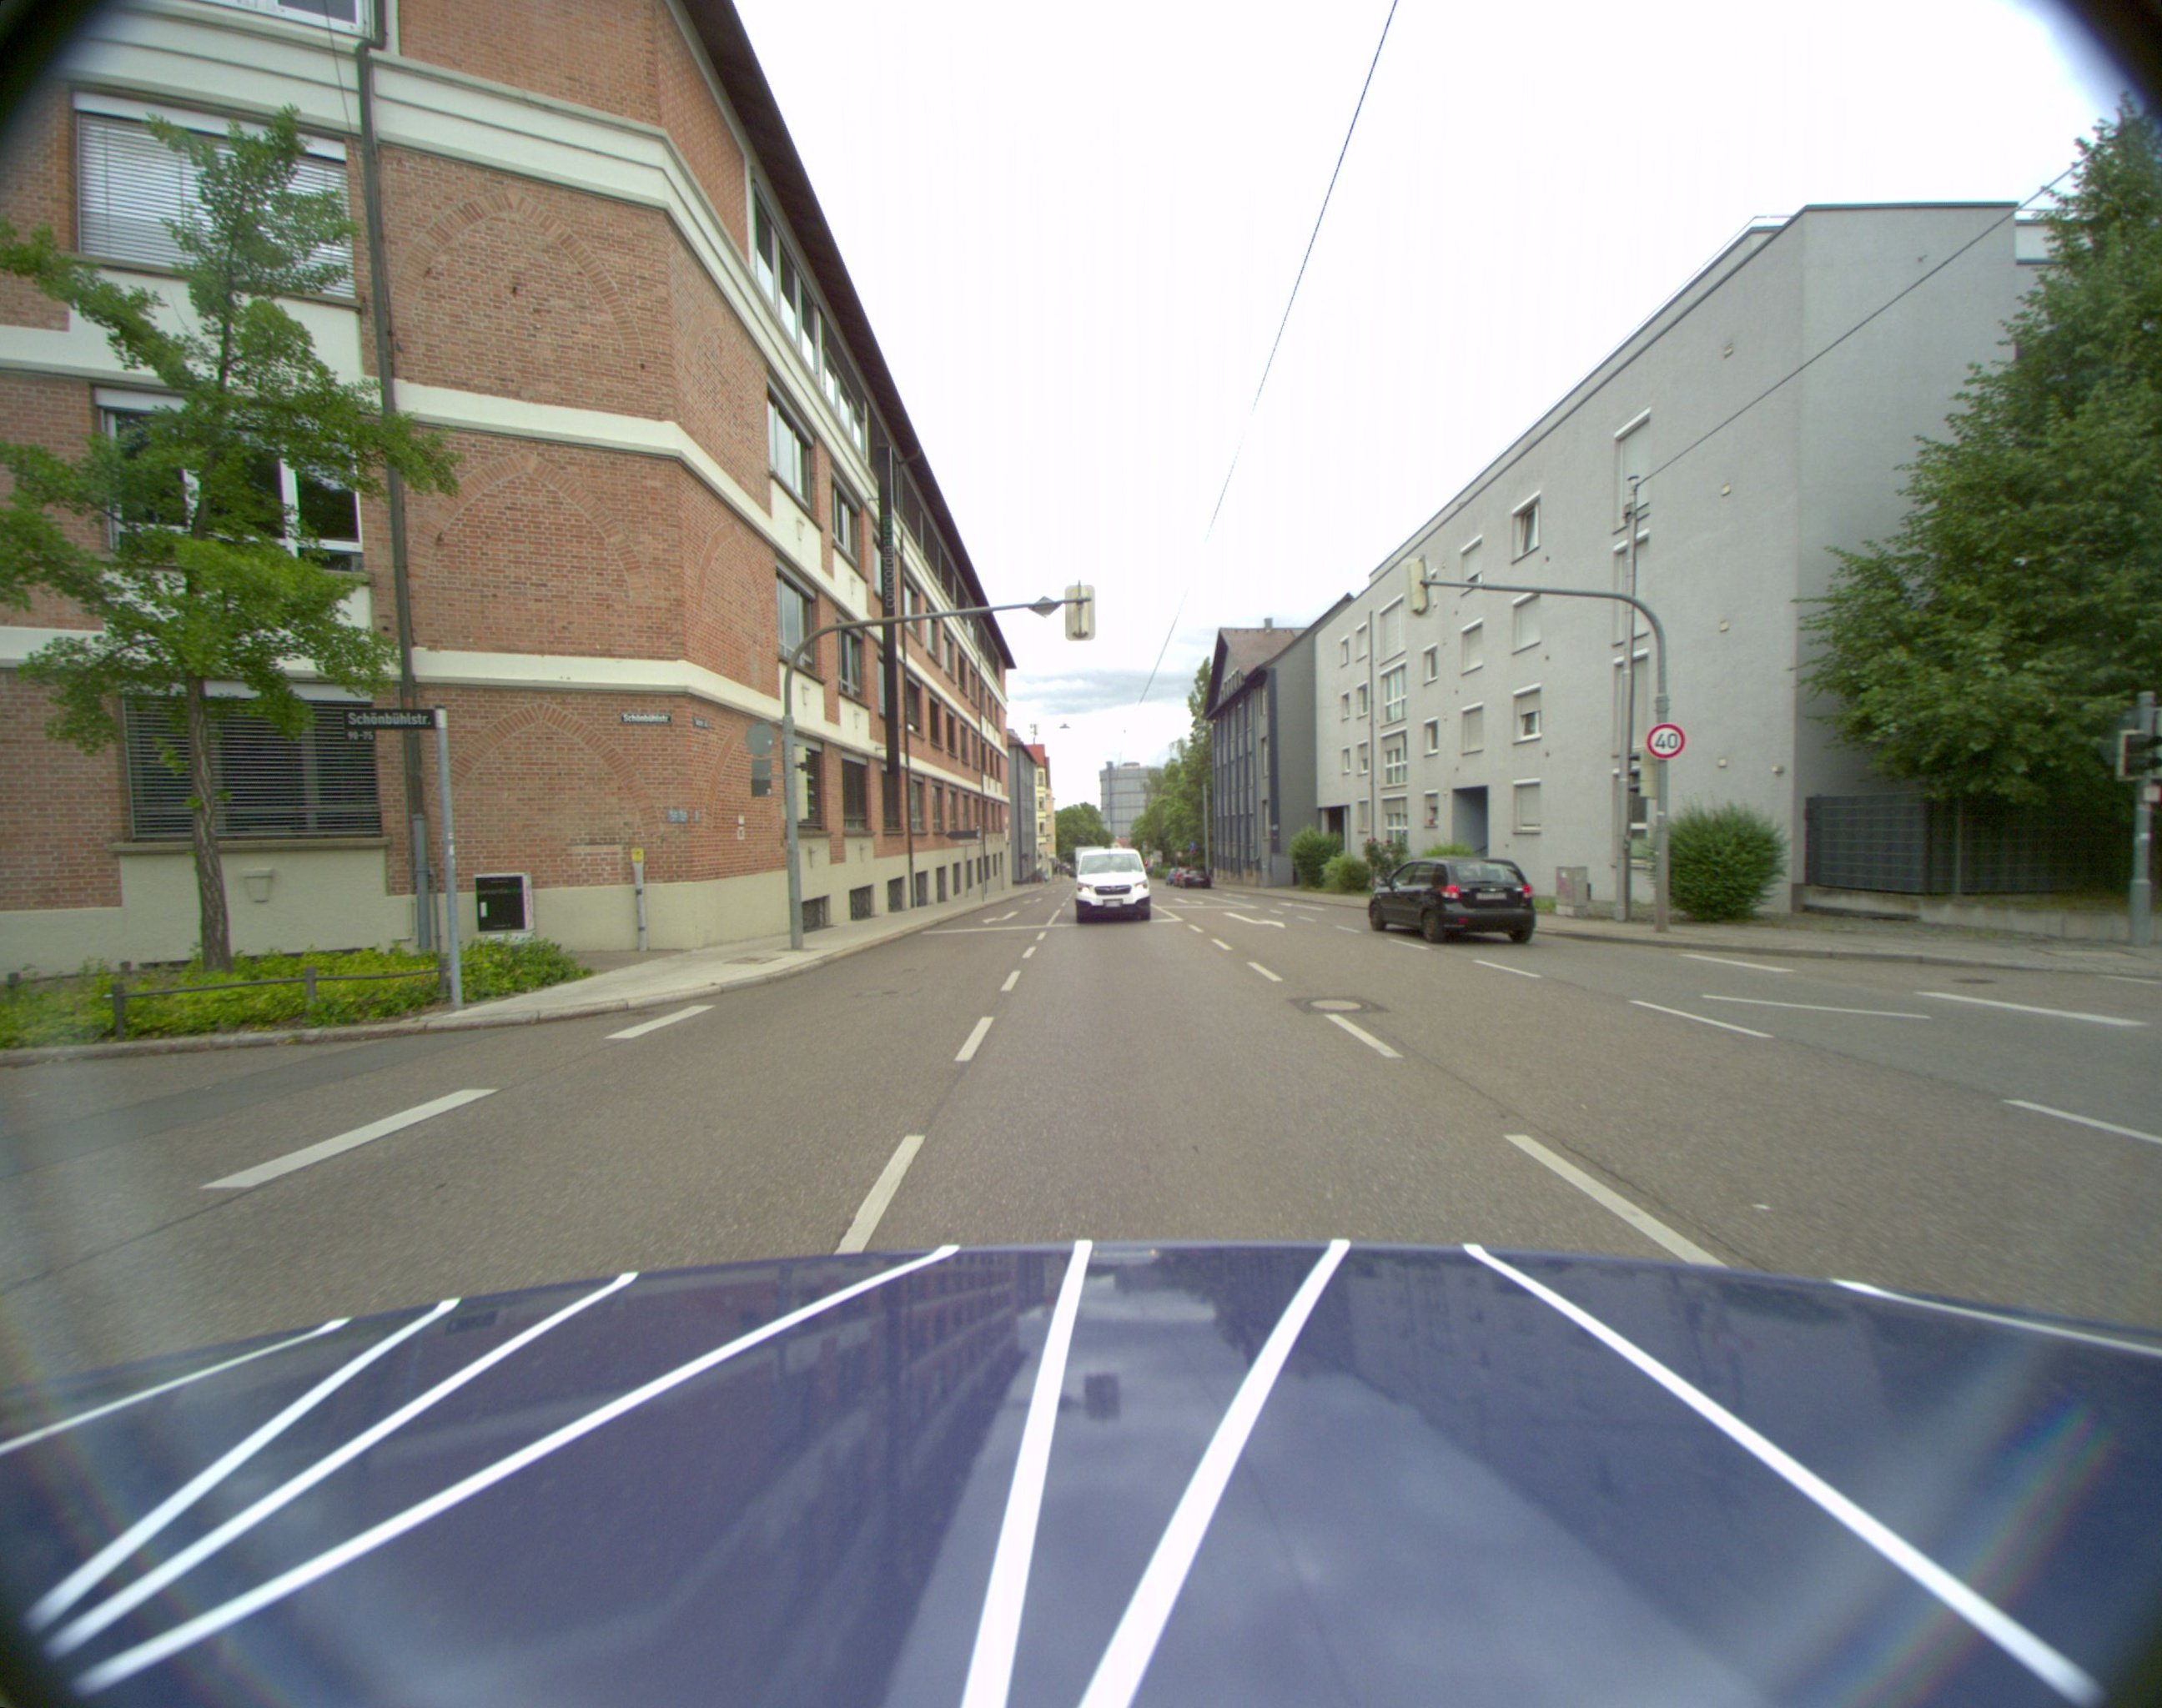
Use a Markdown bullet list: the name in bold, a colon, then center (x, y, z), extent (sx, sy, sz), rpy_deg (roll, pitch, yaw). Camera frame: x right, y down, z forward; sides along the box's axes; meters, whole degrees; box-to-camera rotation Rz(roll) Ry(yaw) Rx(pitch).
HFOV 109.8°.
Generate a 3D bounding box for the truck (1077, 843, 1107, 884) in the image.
- **truck**: center (1.020, 0.793, 69.380), extent (2.545, 3.478, 8.521), rpy_deg (-1, 0, 1)

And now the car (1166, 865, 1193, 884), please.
- **car**: center (8.173, 1.704, 63.583), extent (1.799, 1.401, 4.000), rpy_deg (-1, 0, 1)

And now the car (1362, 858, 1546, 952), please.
- **car**: center (6.531, 0.810, 13.760), extent (1.591, 1.455, 3.616), rpy_deg (-1, 0, 1)

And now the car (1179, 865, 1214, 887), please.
- **car**: center (7.900, 1.476, 52.229), extent (1.799, 1.401, 4.000), rpy_deg (-1, 0, 1)

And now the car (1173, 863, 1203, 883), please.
- **car**: center (8.127, 1.424, 58.126), extent (1.799, 1.401, 4.000), rpy_deg (-1, 0, 1)

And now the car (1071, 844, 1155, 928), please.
- **car**: center (0.766, 0.768, 19.477), extent (1.850, 1.831, 4.284), rpy_deg (-2, -1, 1)
